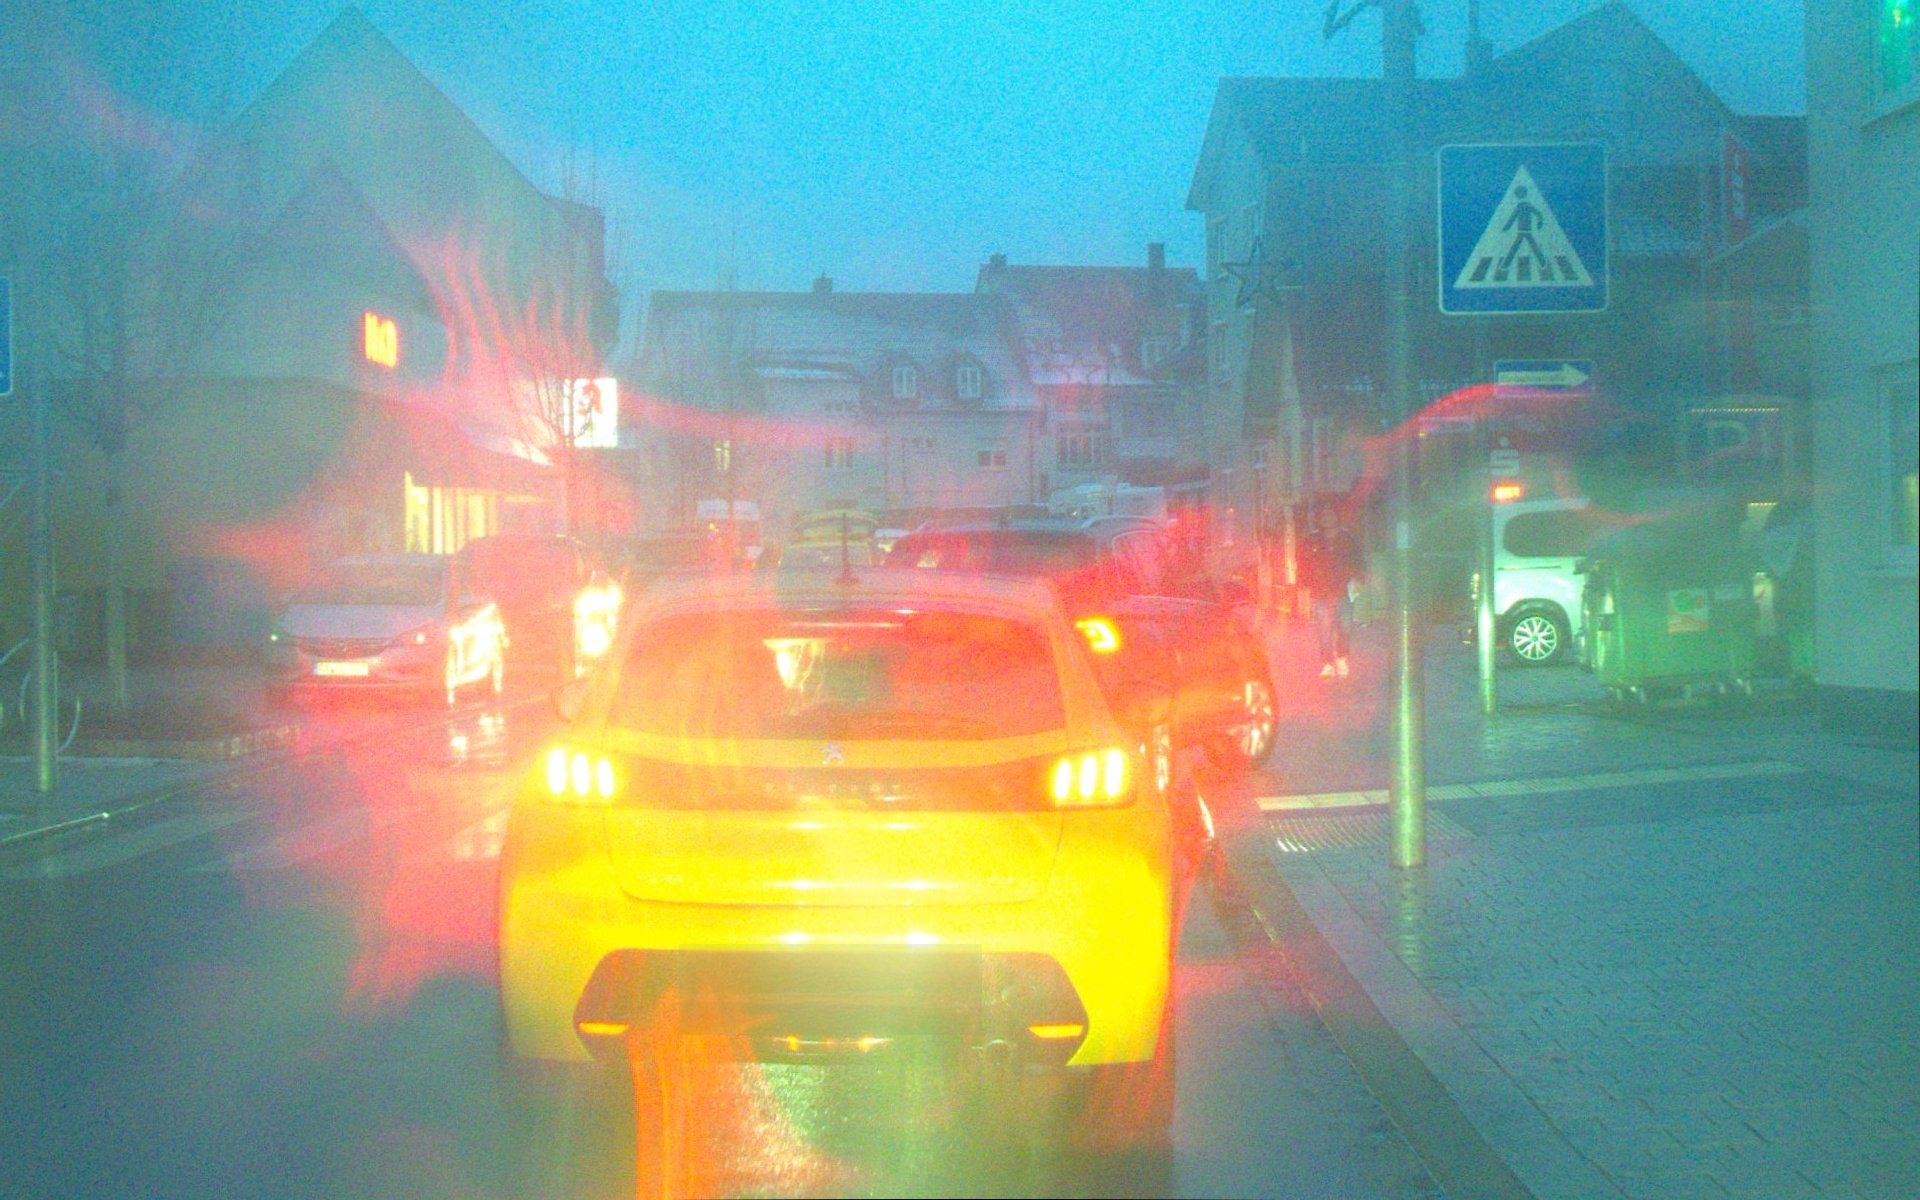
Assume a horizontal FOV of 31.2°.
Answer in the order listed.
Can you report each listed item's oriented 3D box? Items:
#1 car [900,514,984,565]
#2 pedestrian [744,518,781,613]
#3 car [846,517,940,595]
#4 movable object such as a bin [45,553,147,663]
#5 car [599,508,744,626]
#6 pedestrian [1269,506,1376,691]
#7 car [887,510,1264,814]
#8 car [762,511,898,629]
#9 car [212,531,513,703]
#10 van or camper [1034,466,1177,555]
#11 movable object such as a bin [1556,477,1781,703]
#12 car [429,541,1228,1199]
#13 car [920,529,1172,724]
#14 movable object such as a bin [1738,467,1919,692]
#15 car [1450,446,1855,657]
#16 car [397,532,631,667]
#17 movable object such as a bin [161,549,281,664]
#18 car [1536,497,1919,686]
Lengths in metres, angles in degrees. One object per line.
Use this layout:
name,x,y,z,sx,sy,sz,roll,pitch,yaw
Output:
car,-0.691,-2.217,125.922,1.993,1.759,4.352,-3,2,-15
pedestrian,-3.322,-0.586,57.927,0.574,1.580,0.530,0,2,1
car,-1.557,-1.018,77.945,1.951,1.541,4.417,2,3,-3
movable object such as a bin,-10.826,0.091,43.110,1.149,1.349,0.852,0,1,-8
car,-4.509,-0.564,54.361,2.085,1.786,5.025,0,1,-3
pedestrian,3.747,-0.022,35.581,0.966,1.883,1.006,1,1,-1
car,0.581,0.302,20.537,1.992,1.619,4.000,1,1,-2
car,-2.071,-0.525,56.066,1.993,1.700,4.967,2,2,0
car,-5.798,0.112,33.930,1.993,1.552,4.621,1,1,2
van or camper,5.298,-3.267,126.853,2.650,3.037,6.736,-4,2,-21
movable object such as a bin,5.436,-0.088,26.485,1.393,1.638,1.262,-3,1,-1
car,-0.293,0.606,9.875,1.814,1.528,4.000,1,1,0
car,0.685,0.189,30.272,1.993,1.583,4.000,1,1,-2
movable object such as a bin,6.798,-0.171,26.410,1.285,1.638,1.185,-3,1,-1
car,7.406,-0.521,36.989,4.092,2.042,1.999,-2,1,10
car,-5.262,-0.048,41.202,1.993,1.517,4.978,0,1,2
movable object such as a bin,-9.290,0.080,43.263,1.340,1.349,0.889,-3,1,-8
car,6.958,-0.082,28.945,3.987,1.481,1.912,-1,0,5
